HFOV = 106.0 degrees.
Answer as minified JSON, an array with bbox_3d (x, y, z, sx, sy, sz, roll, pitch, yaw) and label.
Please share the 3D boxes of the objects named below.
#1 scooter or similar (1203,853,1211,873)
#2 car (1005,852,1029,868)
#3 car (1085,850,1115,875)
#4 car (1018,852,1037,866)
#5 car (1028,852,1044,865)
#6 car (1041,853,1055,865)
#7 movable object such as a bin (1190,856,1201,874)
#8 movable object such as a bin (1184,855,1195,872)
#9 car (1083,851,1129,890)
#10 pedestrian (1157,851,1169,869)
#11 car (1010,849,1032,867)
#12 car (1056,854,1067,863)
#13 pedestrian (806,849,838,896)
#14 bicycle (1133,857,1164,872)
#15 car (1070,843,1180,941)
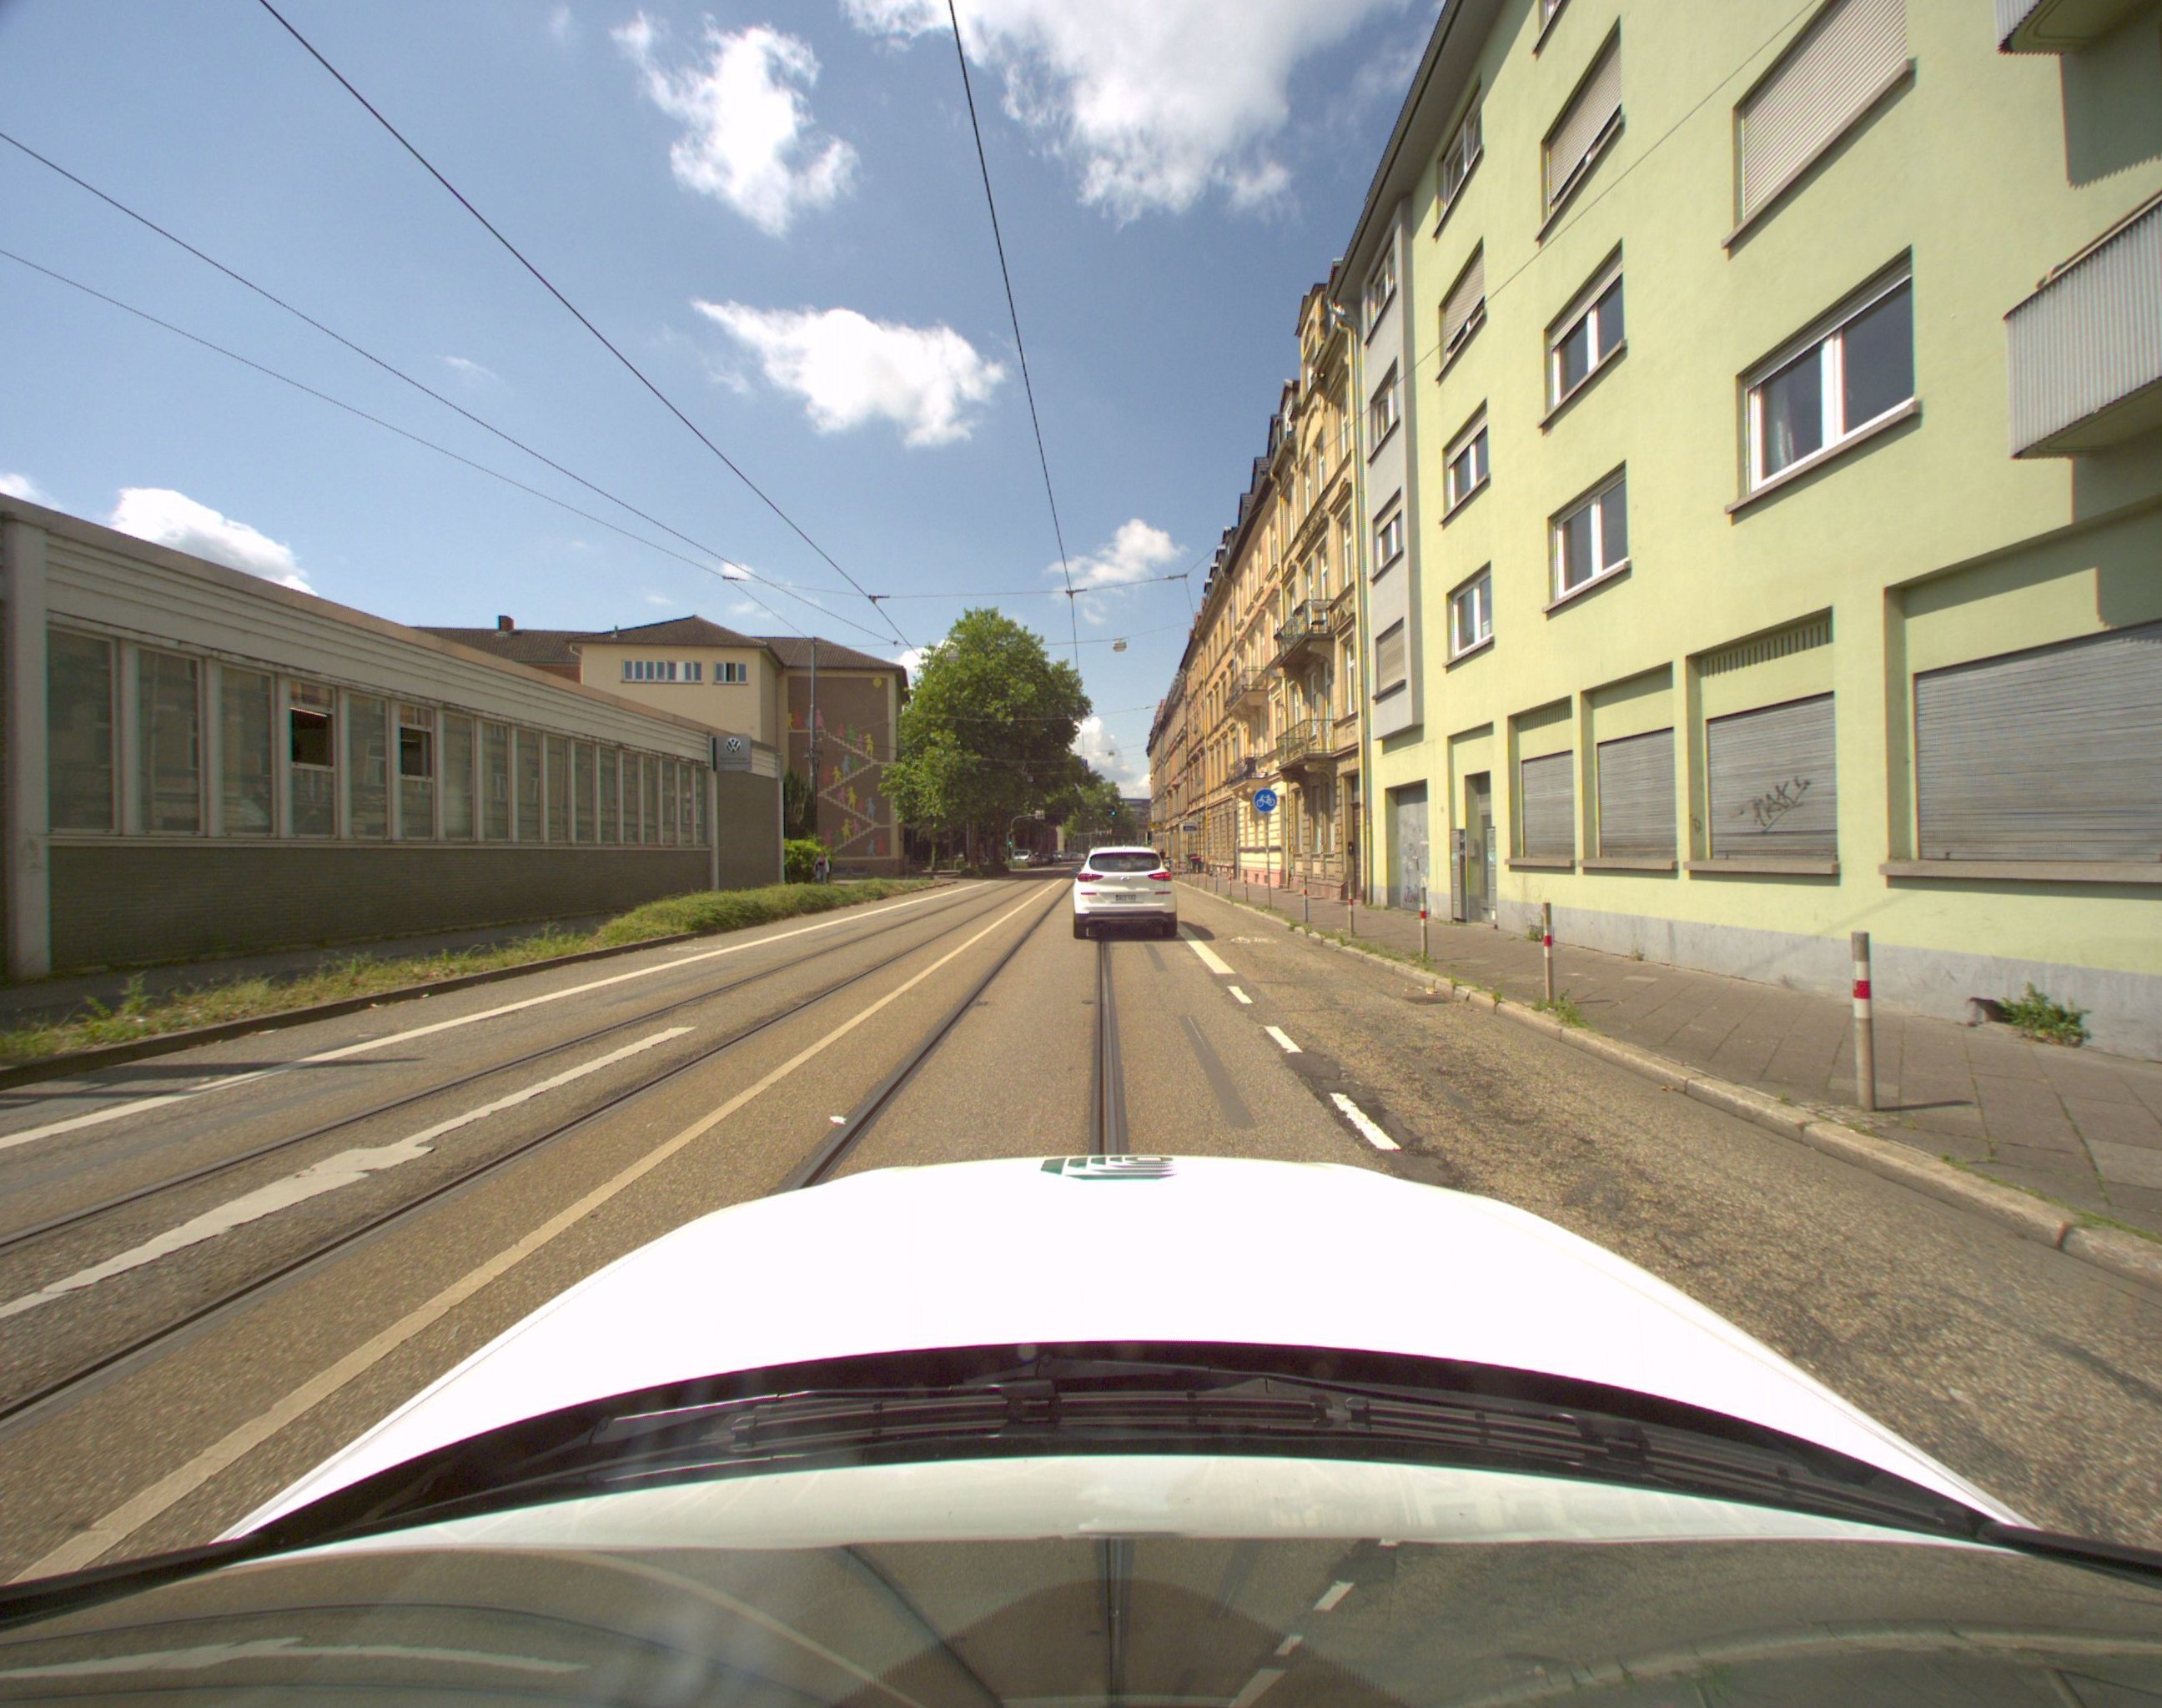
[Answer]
[{"bbox_3d":[7.701,0.545,49.845,0.393,1.164,0.486,0,0,1],"label":"scooter or similar"},{"bbox_3d":[-6.502,0.587,82.954,1.943,1.632,4.577,0,0,1],"label":"car"},{"bbox_3d":[1.252,0.541,52.756,1.808,1.524,3.957,-1,0,2],"label":"car"},{"bbox_3d":[-6.290,0.612,96.221,1.944,1.632,3.998,0,0,-1],"label":"car"},{"bbox_3d":[-5.760,0.593,104.183,1.944,1.632,3.998,0,0,-1],"label":"car"},{"bbox_3d":[-4.944,0.734,121.931,1.944,1.632,3.998,0,0,-1],"label":"car"},{"bbox_3d":[7.448,0.692,52.896,0.610,1.143,0.639,0,0,1],"label":"movable object such as a bin"},{"bbox_3d":[7.228,0.646,54.347,0.610,1.143,0.639,-1,0,1],"label":"movable object such as a bin"},{"bbox_3d":[1.084,0.652,34.604,1.807,1.524,4.087,-1,0,2],"label":"car"},{"bbox_3d":[7.035,0.503,70.065,0.934,1.573,1.050,0,0,1],"label":"pedestrian"},{"bbox_3d":[-6.515,0.394,89.006,1.943,1.895,4.566,0,0,1],"label":"car"},{"bbox_3d":[-3.658,0.893,153.176,1.944,1.632,3.998,0,0,-1],"label":"car"},{"bbox_3d":[-10.627,0.746,33.426,0.877,1.865,1.081,-2,0,2],"label":"pedestrian"},{"bbox_3d":[5.094,0.804,61.345,2.260,1.144,0.584,0,0,-1],"label":"bicycle"},{"bbox_3d":[0.723,0.638,15.945,1.847,1.634,4.179,-1,0,-1],"label":"car"}]
